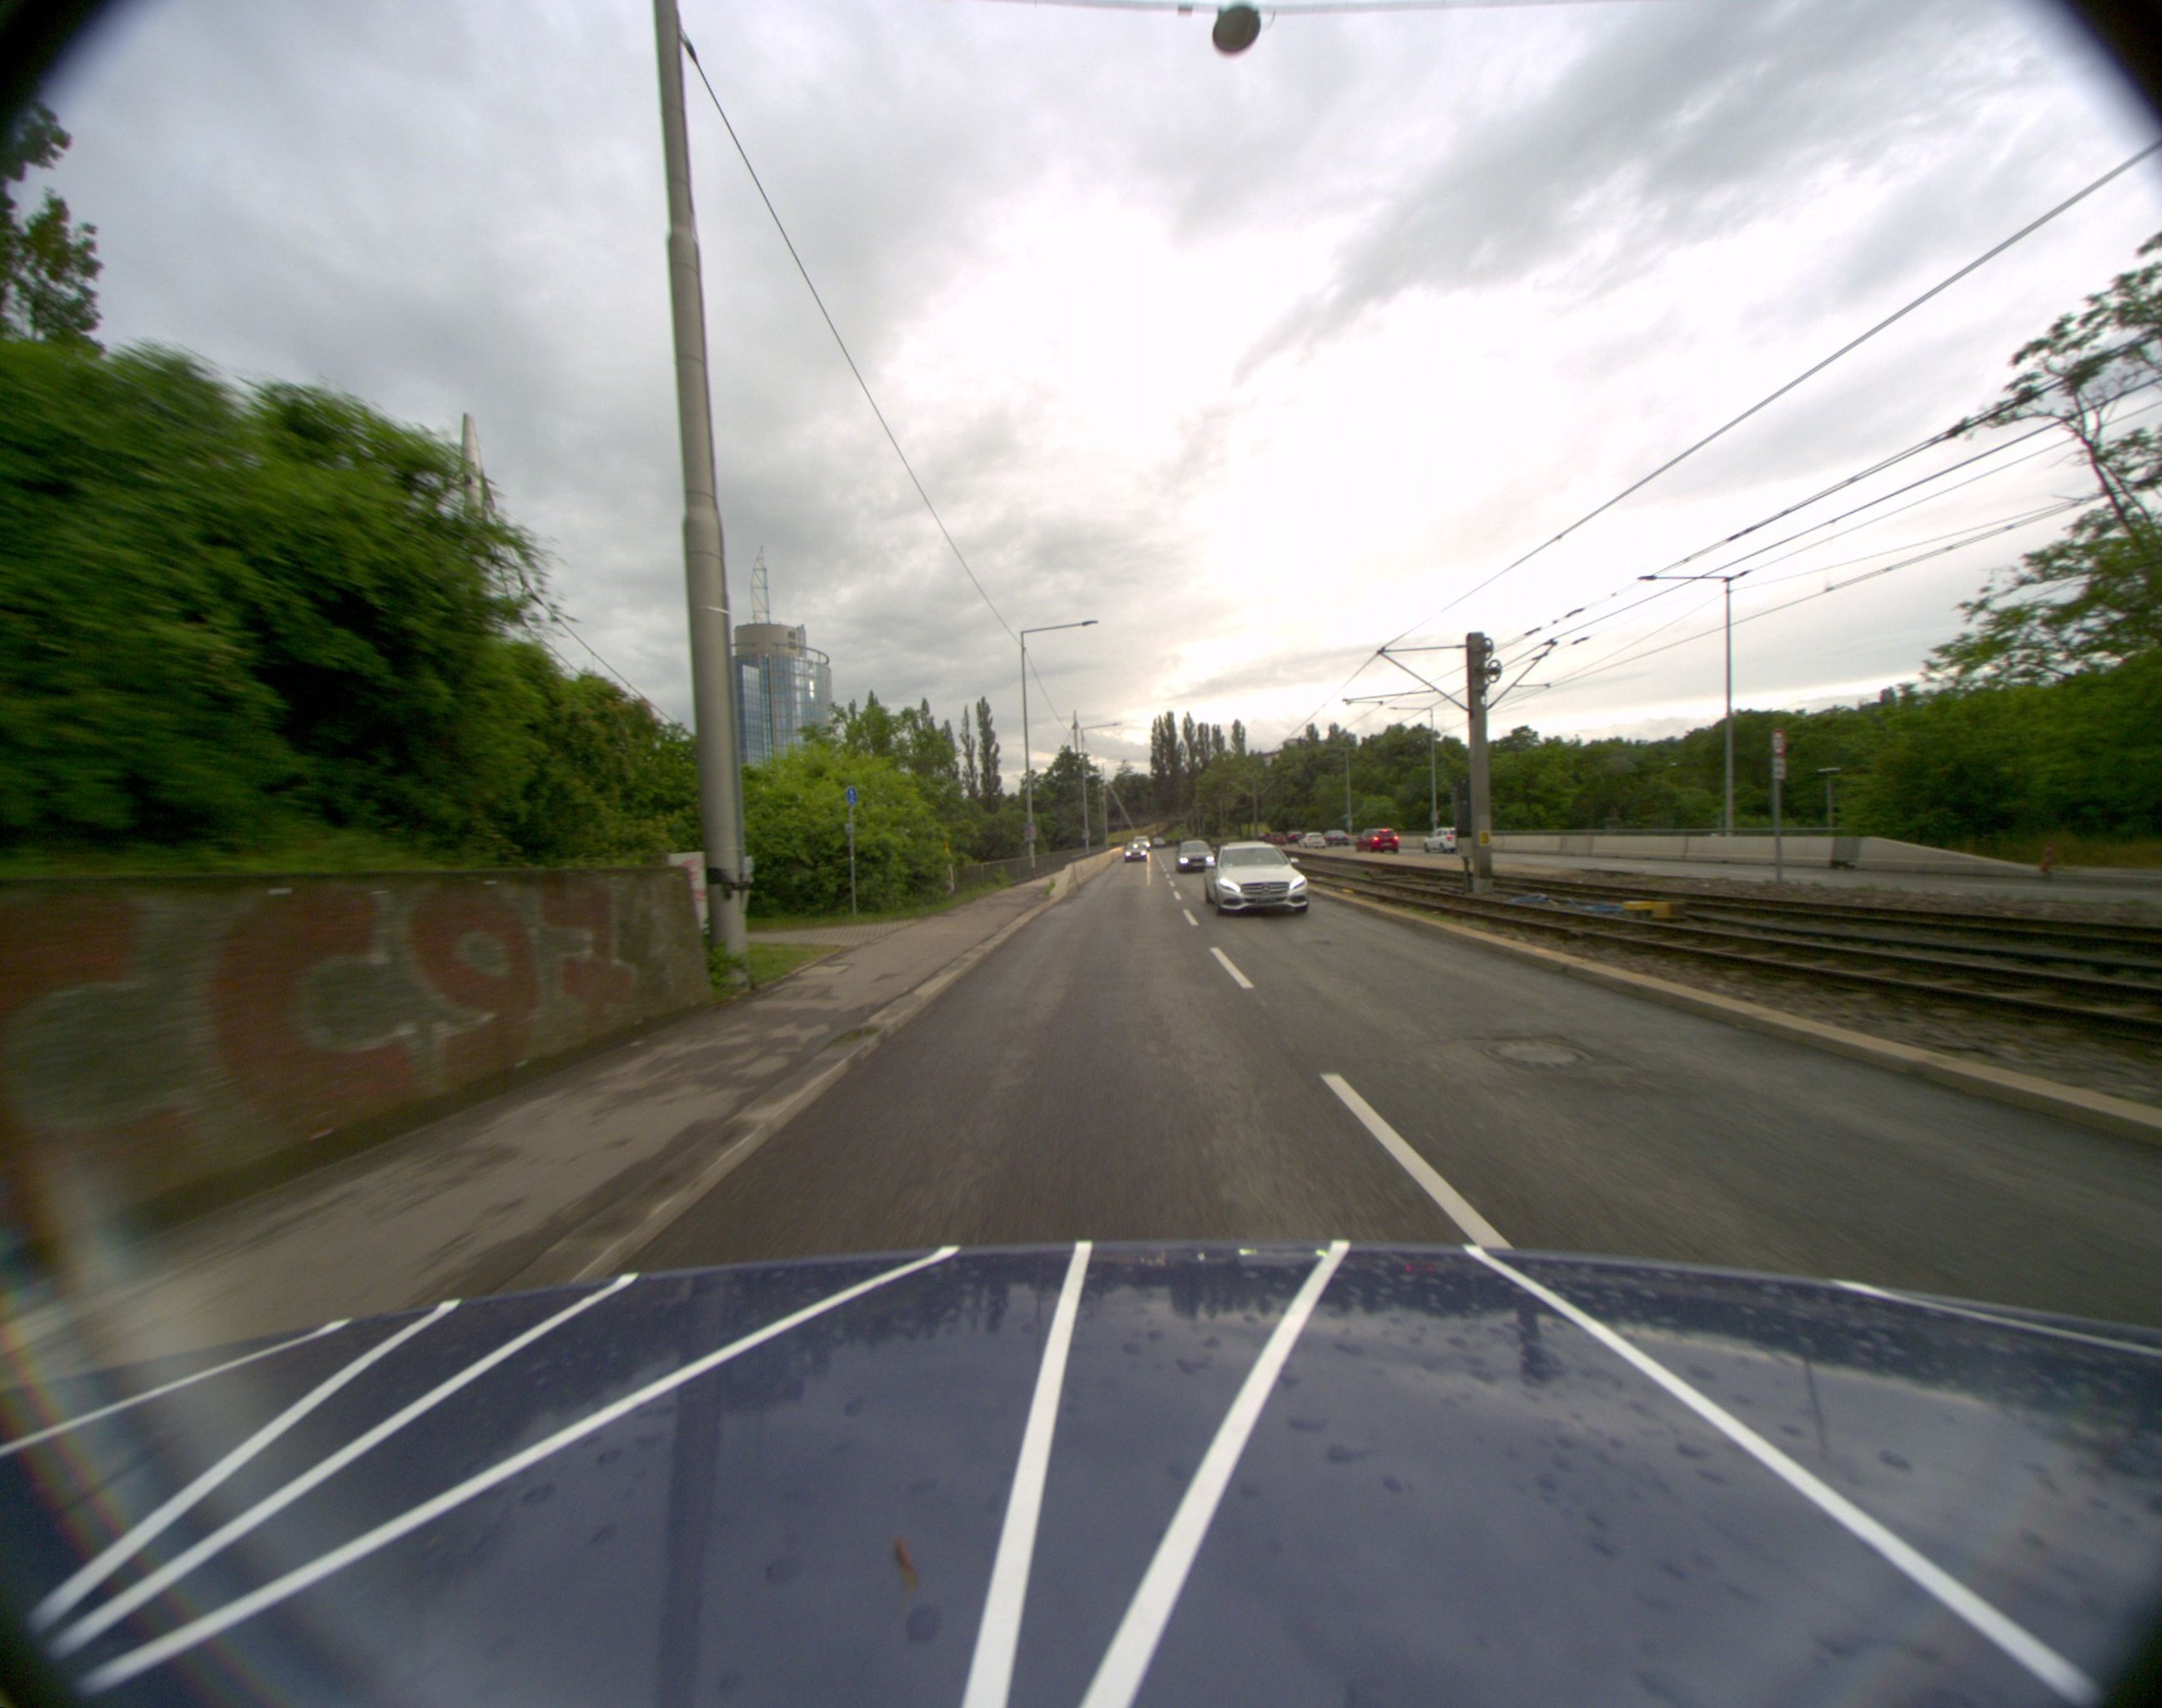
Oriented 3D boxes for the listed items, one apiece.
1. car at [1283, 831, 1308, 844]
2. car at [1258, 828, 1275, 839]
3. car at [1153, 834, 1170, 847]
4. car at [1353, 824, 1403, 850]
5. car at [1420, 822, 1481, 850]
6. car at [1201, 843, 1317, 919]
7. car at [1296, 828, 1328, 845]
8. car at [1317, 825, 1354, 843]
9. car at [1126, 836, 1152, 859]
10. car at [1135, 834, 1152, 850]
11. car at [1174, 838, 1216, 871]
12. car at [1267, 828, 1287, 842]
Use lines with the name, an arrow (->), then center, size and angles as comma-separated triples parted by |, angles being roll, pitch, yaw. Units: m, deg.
car -> 26.646, -2.033, 94.340 | 1.901, 1.588, 4.732 | -2, 1, 2
car -> 27.721, -3.053, 113.714 | 1.820, 1.428, 4.741 | -3, 1, 6
car -> 11.795, -1.977, 111.462 | 1.768, 1.806, 3.998 | -4, 1, -3
car -> 19.404, -1.110, 49.806 | 1.852, 1.588, 4.733 | -2, 1, 6
car -> 22.282, -1.128, 46.017 | 1.825, 1.507, 4.529 | -3, 2, 6
car -> 3.732, 0.491, 16.635 | 1.871, 1.348, 4.061 | -4, 1, 6
car -> 20.862, -1.633, 68.809 | 1.734, 1.429, 4.490 | -2, 2, 2
car -> 24.674, -1.945, 73.827 | 1.973, 1.588, 5.184 | -2, 1, 2
car -> 4.314, -0.508, 57.010 | 1.768, 1.493, 3.999 | -3, 2, 2
car -> 7.735, -1.458, 93.928 | 1.768, 1.806, 3.999 | -4, 2, 1
car -> 5.367, -0.020, 36.220 | 1.735, 1.344, 4.000 | -3, 2, 6
car -> 22.727, -2.190, 88.016 | 1.604, 1.485, 3.016 | -2, 3, 2
